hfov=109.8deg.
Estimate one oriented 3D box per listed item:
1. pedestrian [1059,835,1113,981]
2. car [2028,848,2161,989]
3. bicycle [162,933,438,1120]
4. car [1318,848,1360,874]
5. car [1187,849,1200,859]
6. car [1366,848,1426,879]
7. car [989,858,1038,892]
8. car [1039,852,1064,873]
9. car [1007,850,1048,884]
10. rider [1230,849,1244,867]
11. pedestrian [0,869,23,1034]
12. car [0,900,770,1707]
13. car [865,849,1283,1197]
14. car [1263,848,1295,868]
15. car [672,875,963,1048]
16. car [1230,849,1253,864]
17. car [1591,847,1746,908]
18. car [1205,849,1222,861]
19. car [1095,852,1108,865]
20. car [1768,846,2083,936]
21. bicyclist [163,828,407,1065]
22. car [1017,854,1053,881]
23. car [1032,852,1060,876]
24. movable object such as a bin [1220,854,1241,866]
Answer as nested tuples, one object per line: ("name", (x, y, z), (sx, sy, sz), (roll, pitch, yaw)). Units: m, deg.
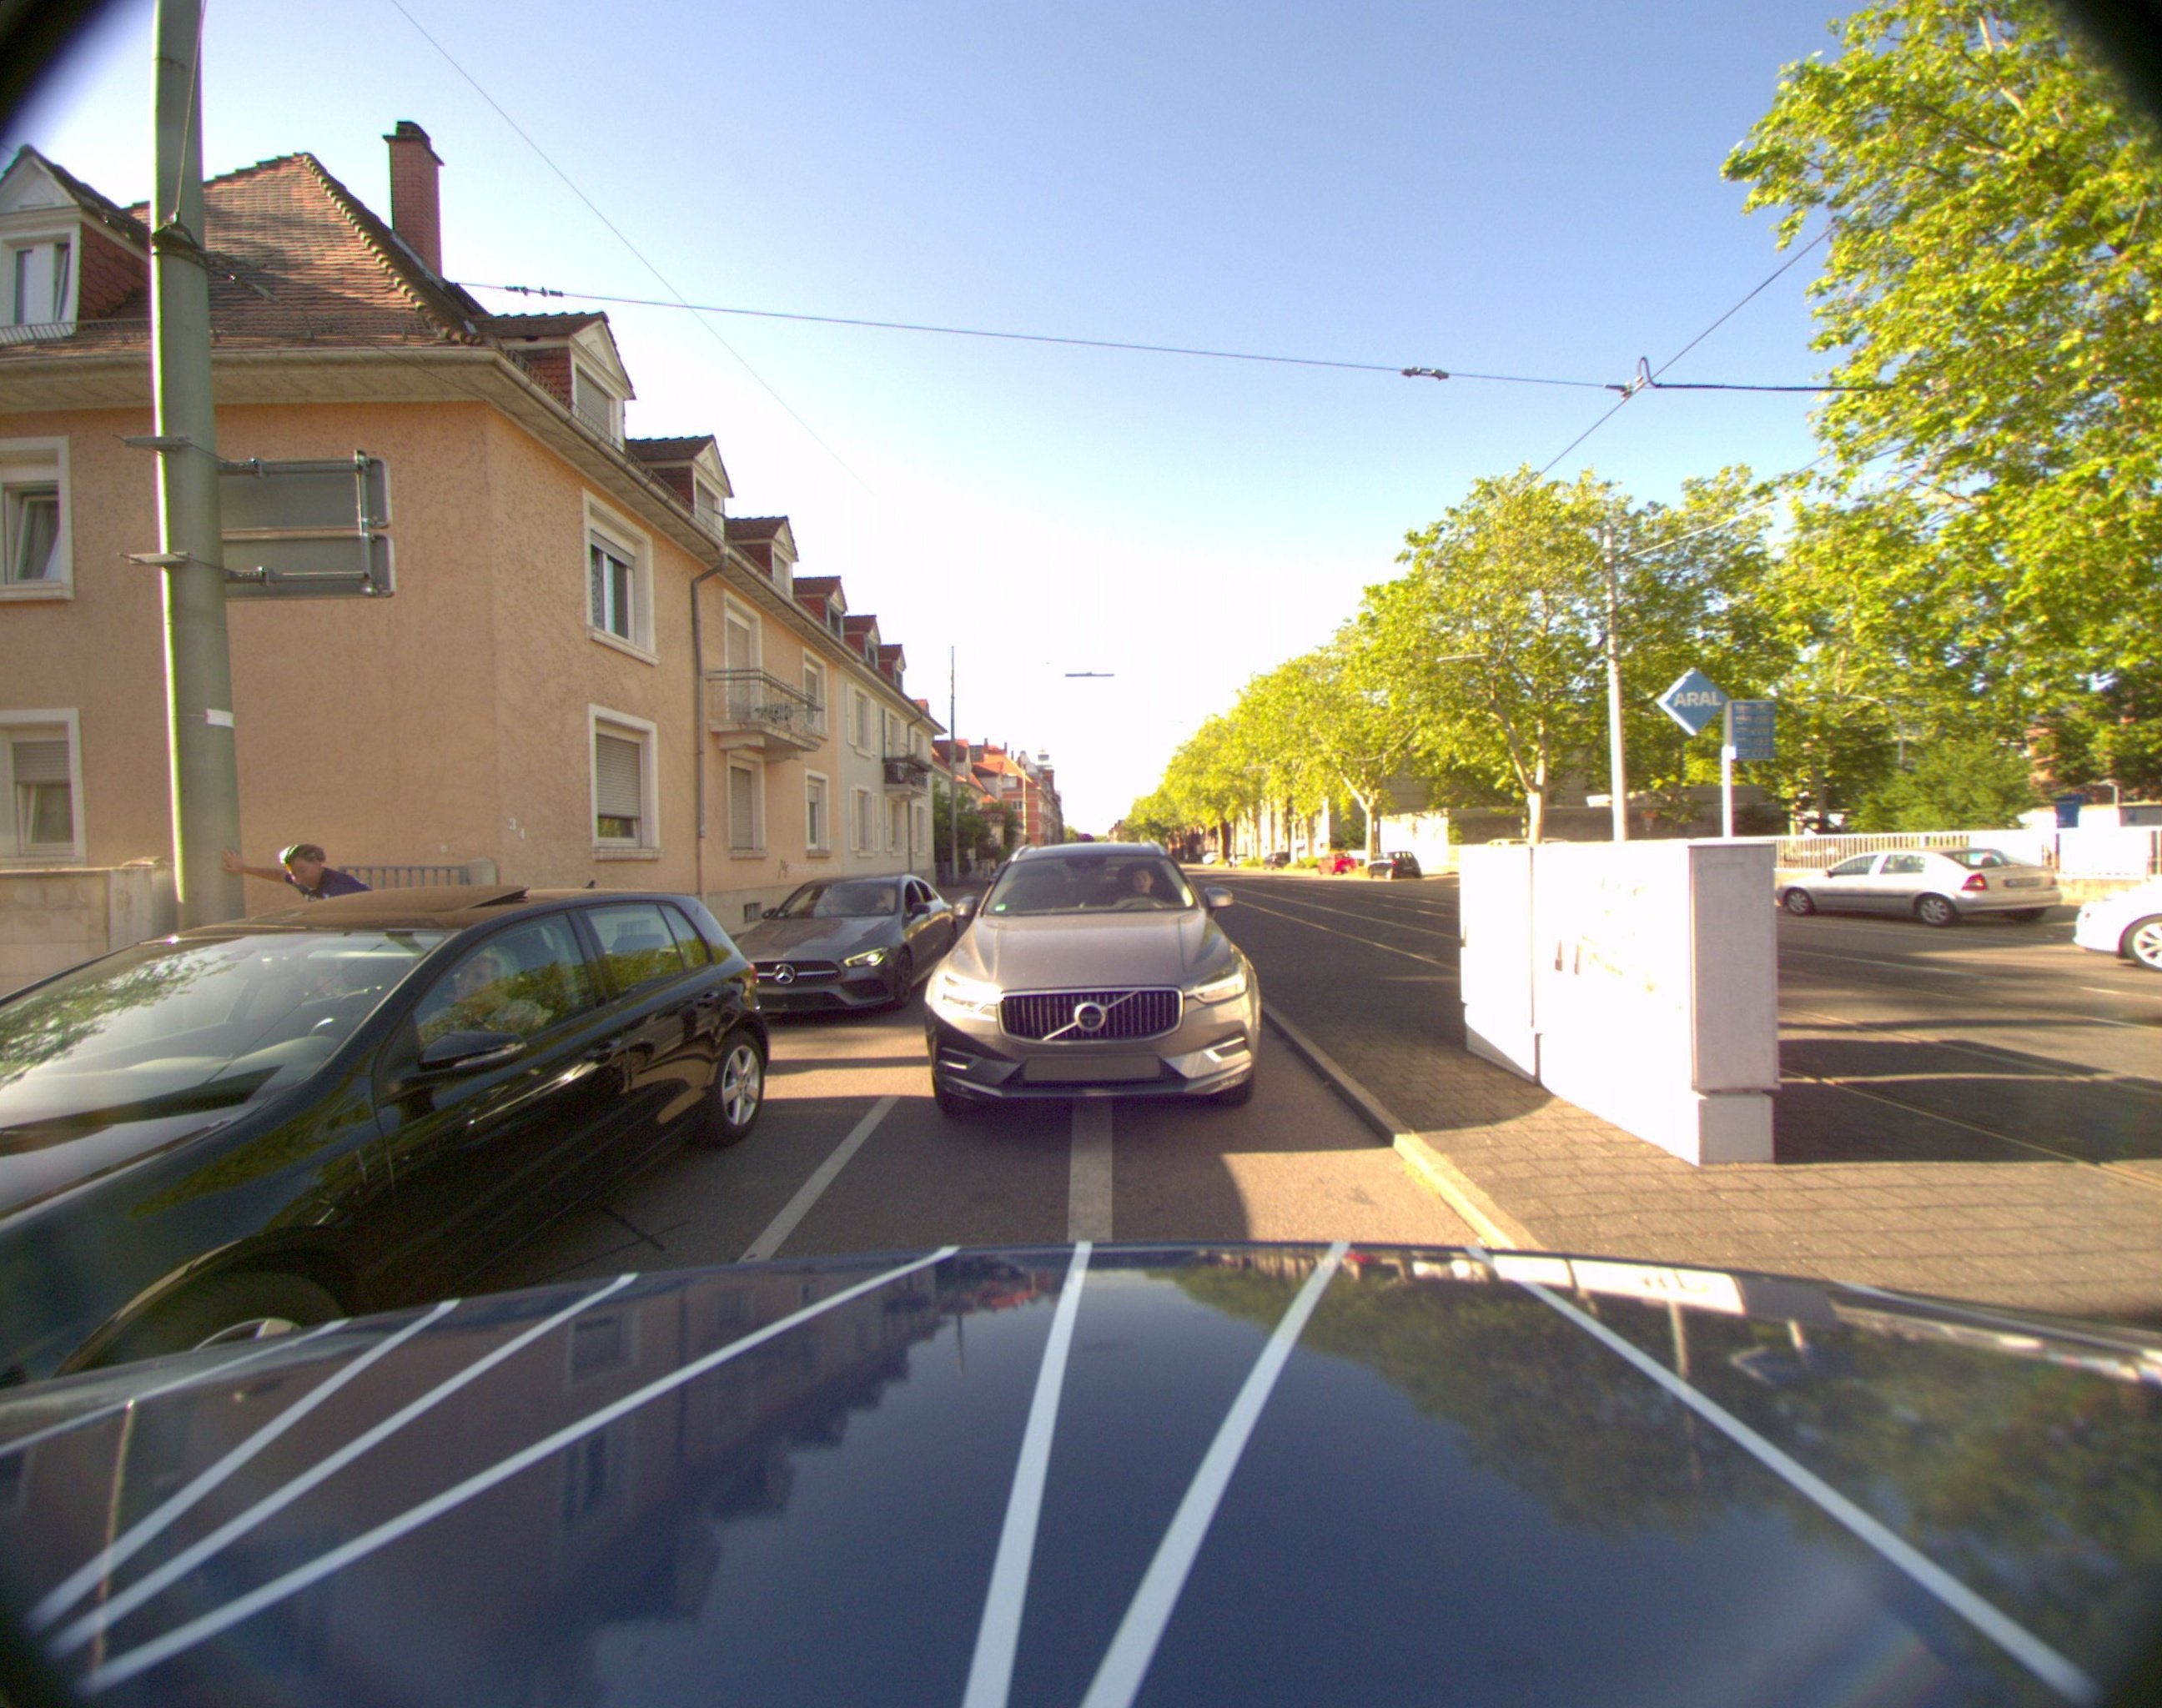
("pedestrian", (0.066, 0.680, 9.897), (0.609, 1.832, 0.599), (-2, 1, 1))
("car", (12.062, 0.666, 6.914), (1.745, 1.427, 3.929), (2, -1, -17))
("bicycle", (-5.871, 1.236, 5.862), (0.556, 1.069, 1.624), (2, 0, -7))
("car", (16.951, 0.440, 50.041), (1.661, 1.486, 3.377), (-5, 1, 3))
("car", (18.559, 0.061, 125.556), (1.661, 1.452, 3.730), (-5, 1, 3))
("car", (16.837, 0.449, 40.835), (1.723, 1.436, 3.769), (-5, 1, 3))
("car", (-3.231, 0.969, 37.140), (1.825, 1.422, 4.334), (-2, 1, 1))
("car", (-2.593, 0.701, 67.280), (1.825, 1.701, 4.334), (-2, 1, 1))
("car", (-2.907, 0.695, 42.395), (1.825, 1.701, 4.334), (-2, 1, 1))
("rider", (14.386, 0.334, 70.091), (0.726, 1.639, 1.105), (-3, 1, -16))
("pedestrian", (-10.823, 0.933, 7.166), (0.760, 1.596, 0.611), (4, 1, -2))
("car", (-2.803, 1.050, 2.626), (1.717, 1.430, 3.990), (-2, 1, 1))
("car", (0.119, 0.803, 5.779), (1.924, 1.579, 4.387), (-2, 1, 4))
("car", (17.150, 0.324, 65.937), (1.754, 1.582, 3.878), (-5, 1, 3))
("car", (-2.717, 1.028, 9.074), (1.825, 1.422, 4.490), (-2, -1, 1))
("car", (17.622, 0.248, 83.466), (1.754, 1.532, 3.878), (-5, 1, 3))
("car", (16.432, 0.596, 21.494), (1.619, 1.436, 3.606), (-5, 1, 3))
("car", (17.577, 0.104, 100.680), (1.661, 1.452, 3.730), (-5, 1, 3))
("car", (2.927, 0.628, 108.724), (1.851, 1.640, 3.999), (-2, 1, 1))
("car", (16.197, 0.632, 14.952), (1.687, 1.358, 3.989), (-6, 0, 1))
("bicyclist", (-6.041, 0.674, 5.830), (1.021, 1.684, 0.729), (2, 0, -7))
("car", (-2.787, 0.803, 47.153), (1.825, 1.424, 4.334), (-2, 1, 1))
("car", (-2.781, 0.779, 60.914), (1.825, 1.701, 4.334), (-2, 1, 1))
("movable object such as a bin", (14.030, 0.576, 71.363), (1.179, 1.097, 1.832), (-2, 1, -16))
